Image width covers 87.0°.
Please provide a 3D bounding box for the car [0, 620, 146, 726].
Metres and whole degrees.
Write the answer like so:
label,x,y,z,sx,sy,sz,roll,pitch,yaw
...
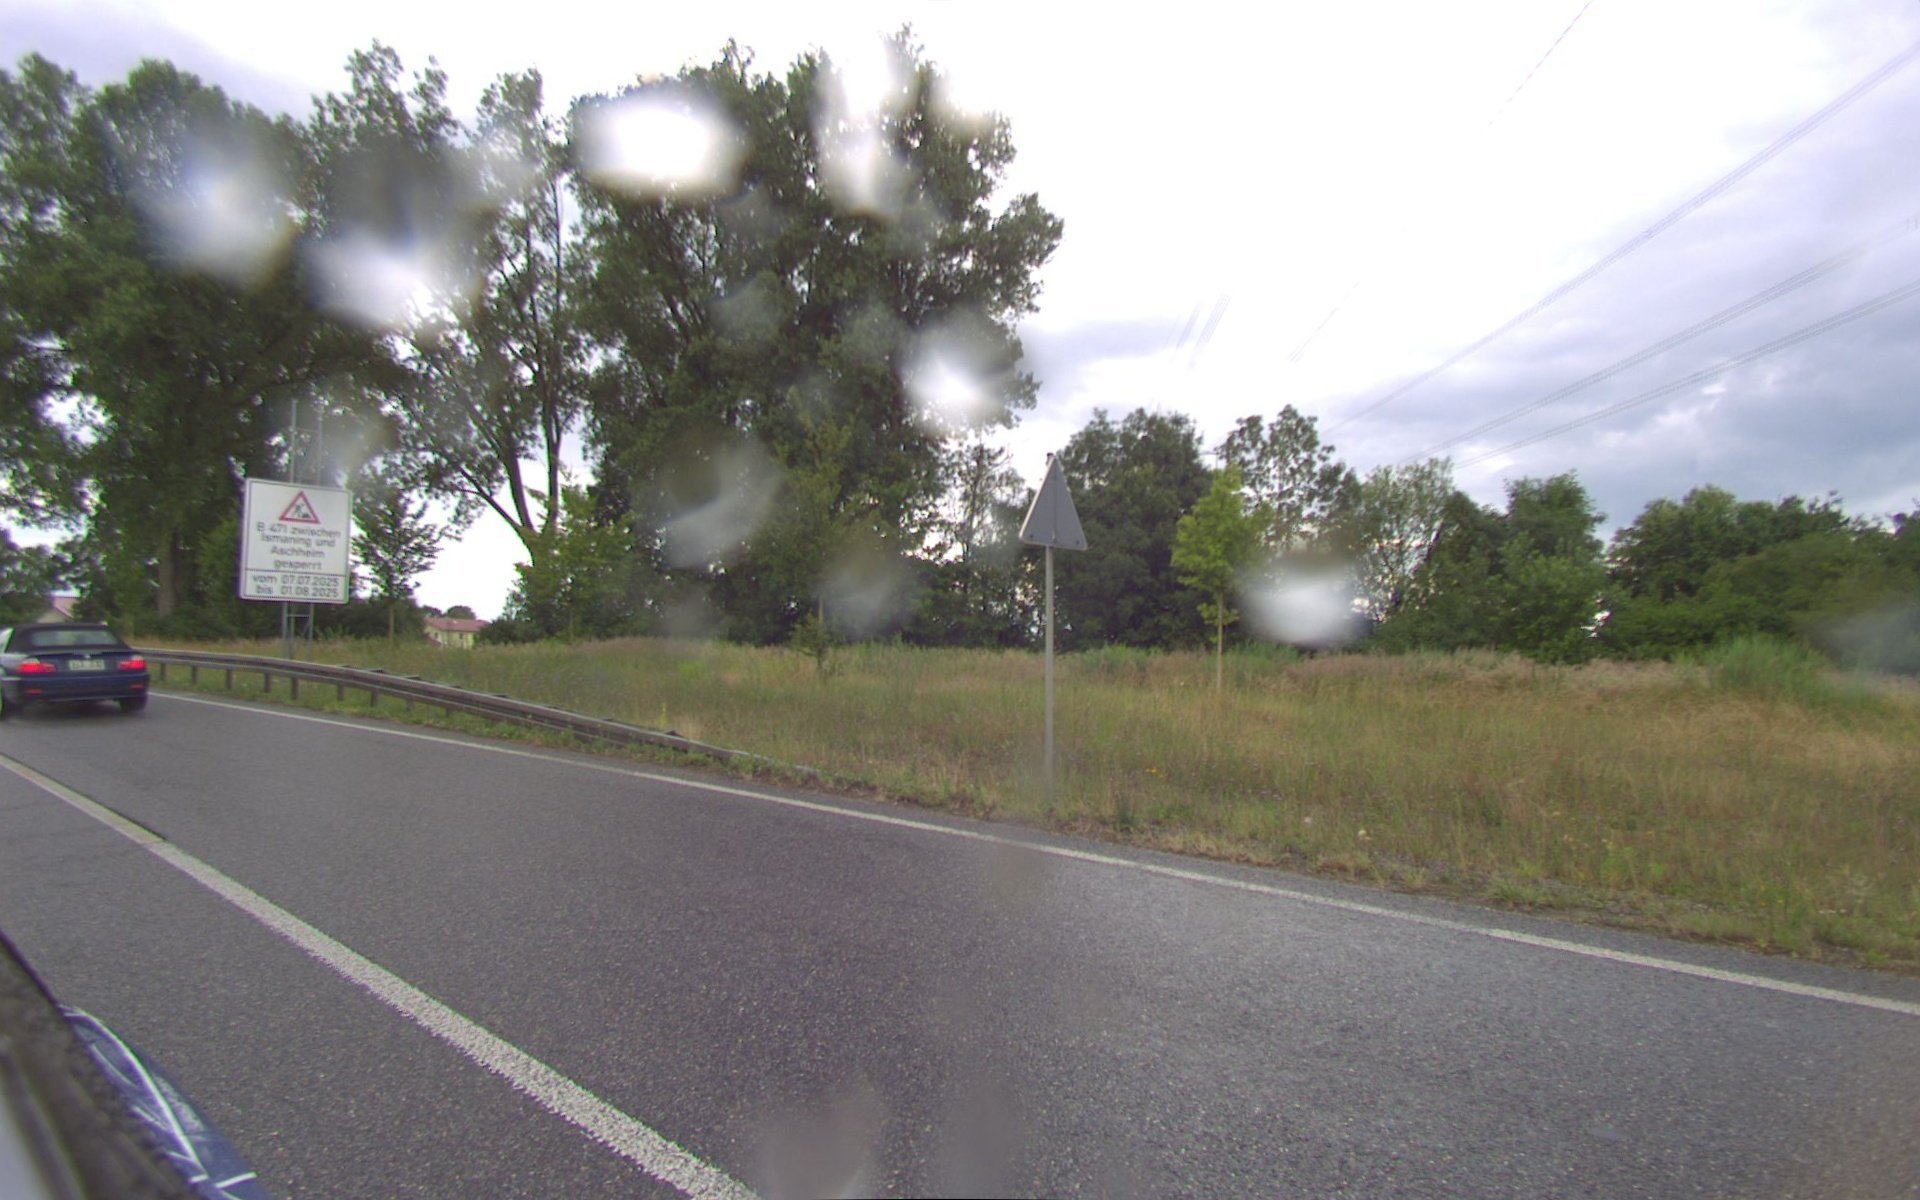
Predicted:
label,x,y,z,sx,sy,sz,roll,pitch,yaw
car,-14.181,1.022,15.684,4.316,1.407,1.614,-1,-1,40
